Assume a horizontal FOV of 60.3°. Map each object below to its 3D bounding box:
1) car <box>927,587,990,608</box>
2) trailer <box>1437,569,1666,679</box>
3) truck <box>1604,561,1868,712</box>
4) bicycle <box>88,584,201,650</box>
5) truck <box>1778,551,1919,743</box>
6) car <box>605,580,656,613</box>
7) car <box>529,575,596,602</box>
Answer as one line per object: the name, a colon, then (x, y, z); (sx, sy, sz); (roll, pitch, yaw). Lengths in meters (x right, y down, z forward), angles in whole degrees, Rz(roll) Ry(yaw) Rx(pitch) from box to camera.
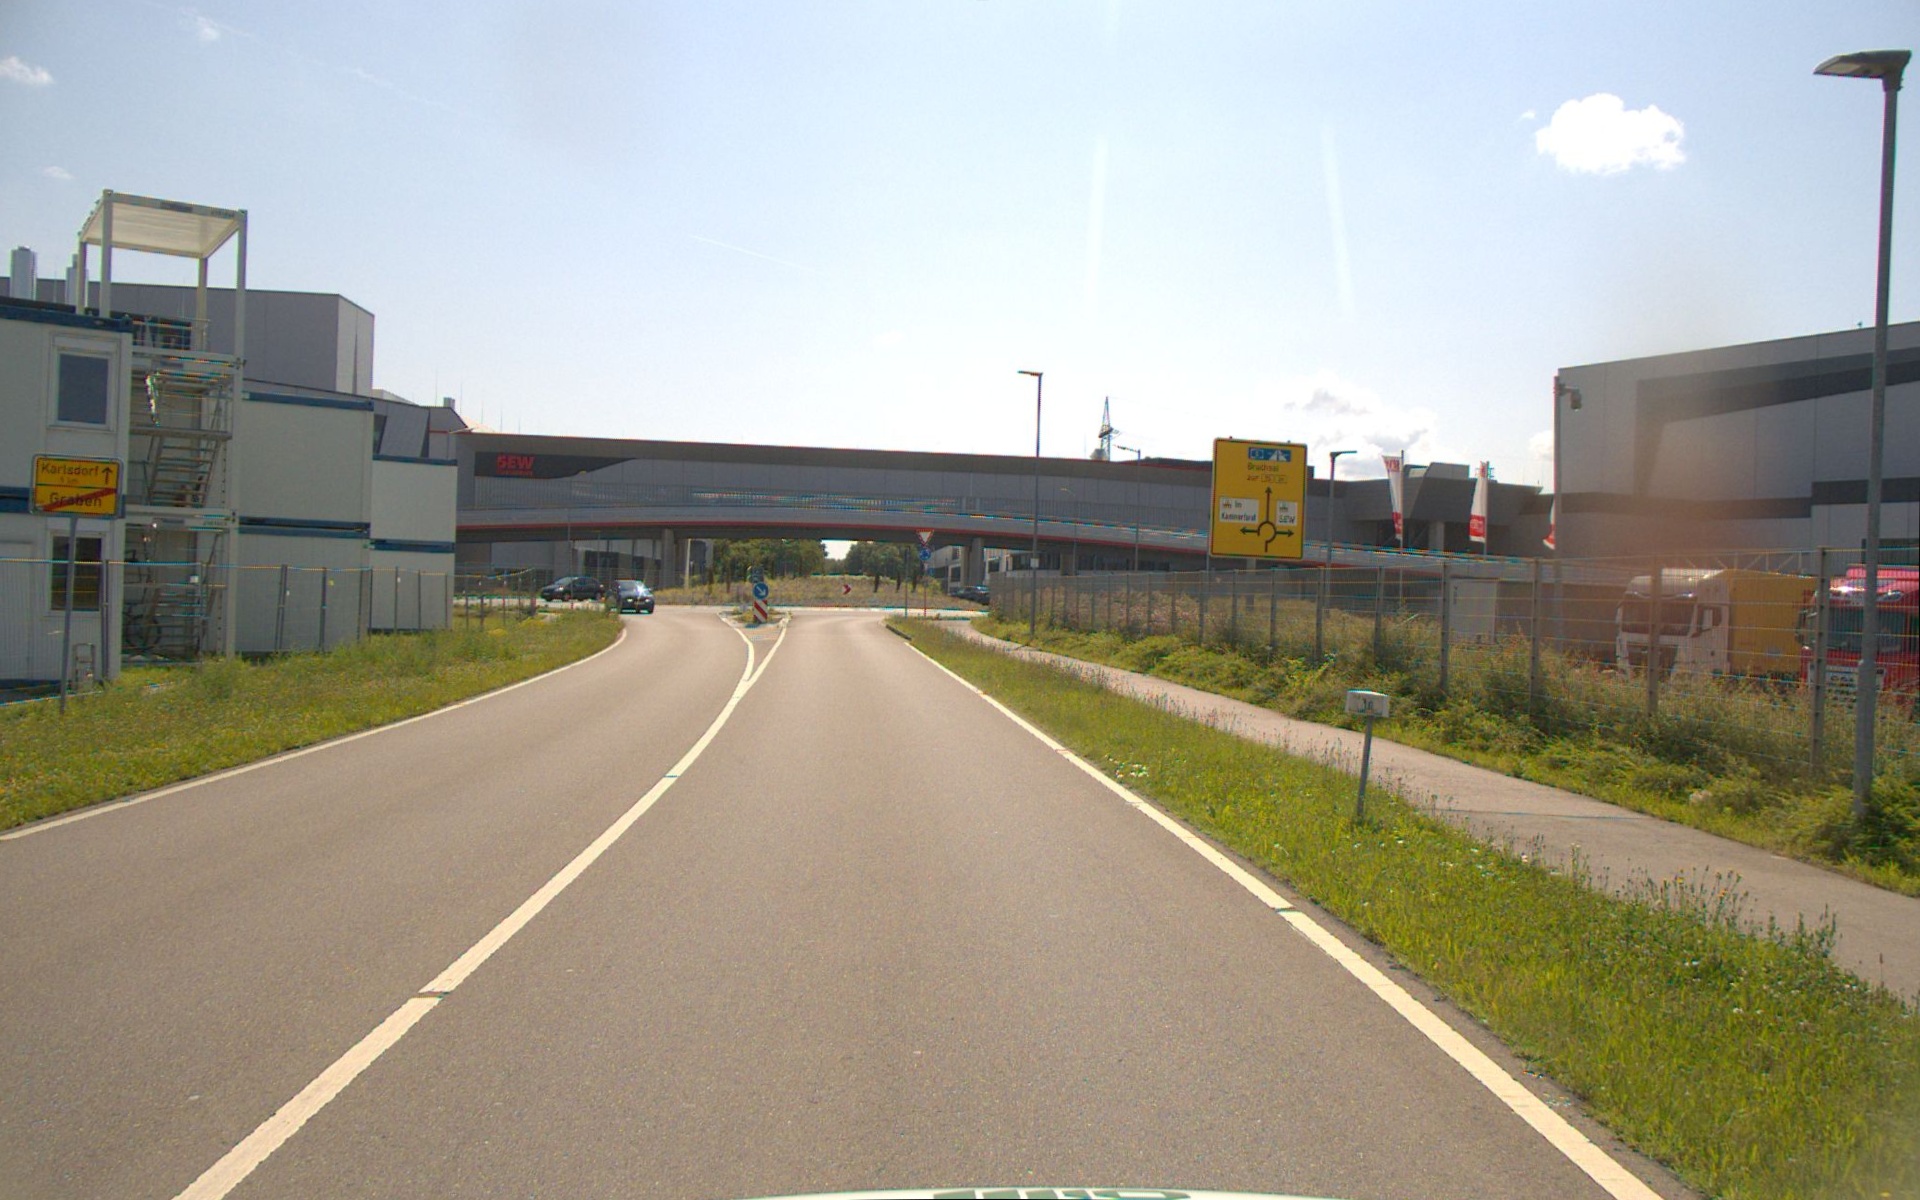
car: (-0.102, -0.170, 110.042); (3.928, 1.411, 1.988); (0, 0, 42)
trailer: (26.541, 1.055, 73.563); (13.922, 4.515, 2.728); (1, 0, -39)
truck: (24.118, 1.072, 51.021); (10.858, 4.245, 2.785); (1, 0, -38)
bicycle: (-16.897, 0.350, 34.284); (2.023, 1.324, 0.601); (1, 0, -35)
truck: (24.792, 1.099, 41.895); (10.862, 4.331, 2.987); (1, 0, -38)
car: (-15.366, -0.158, 77.125); (1.678, 1.508, 3.975); (1, 0, -21)
car: (-24.400, -0.702, 101.565); (1.954, 1.612, 3.997); (0, 0, 25)
